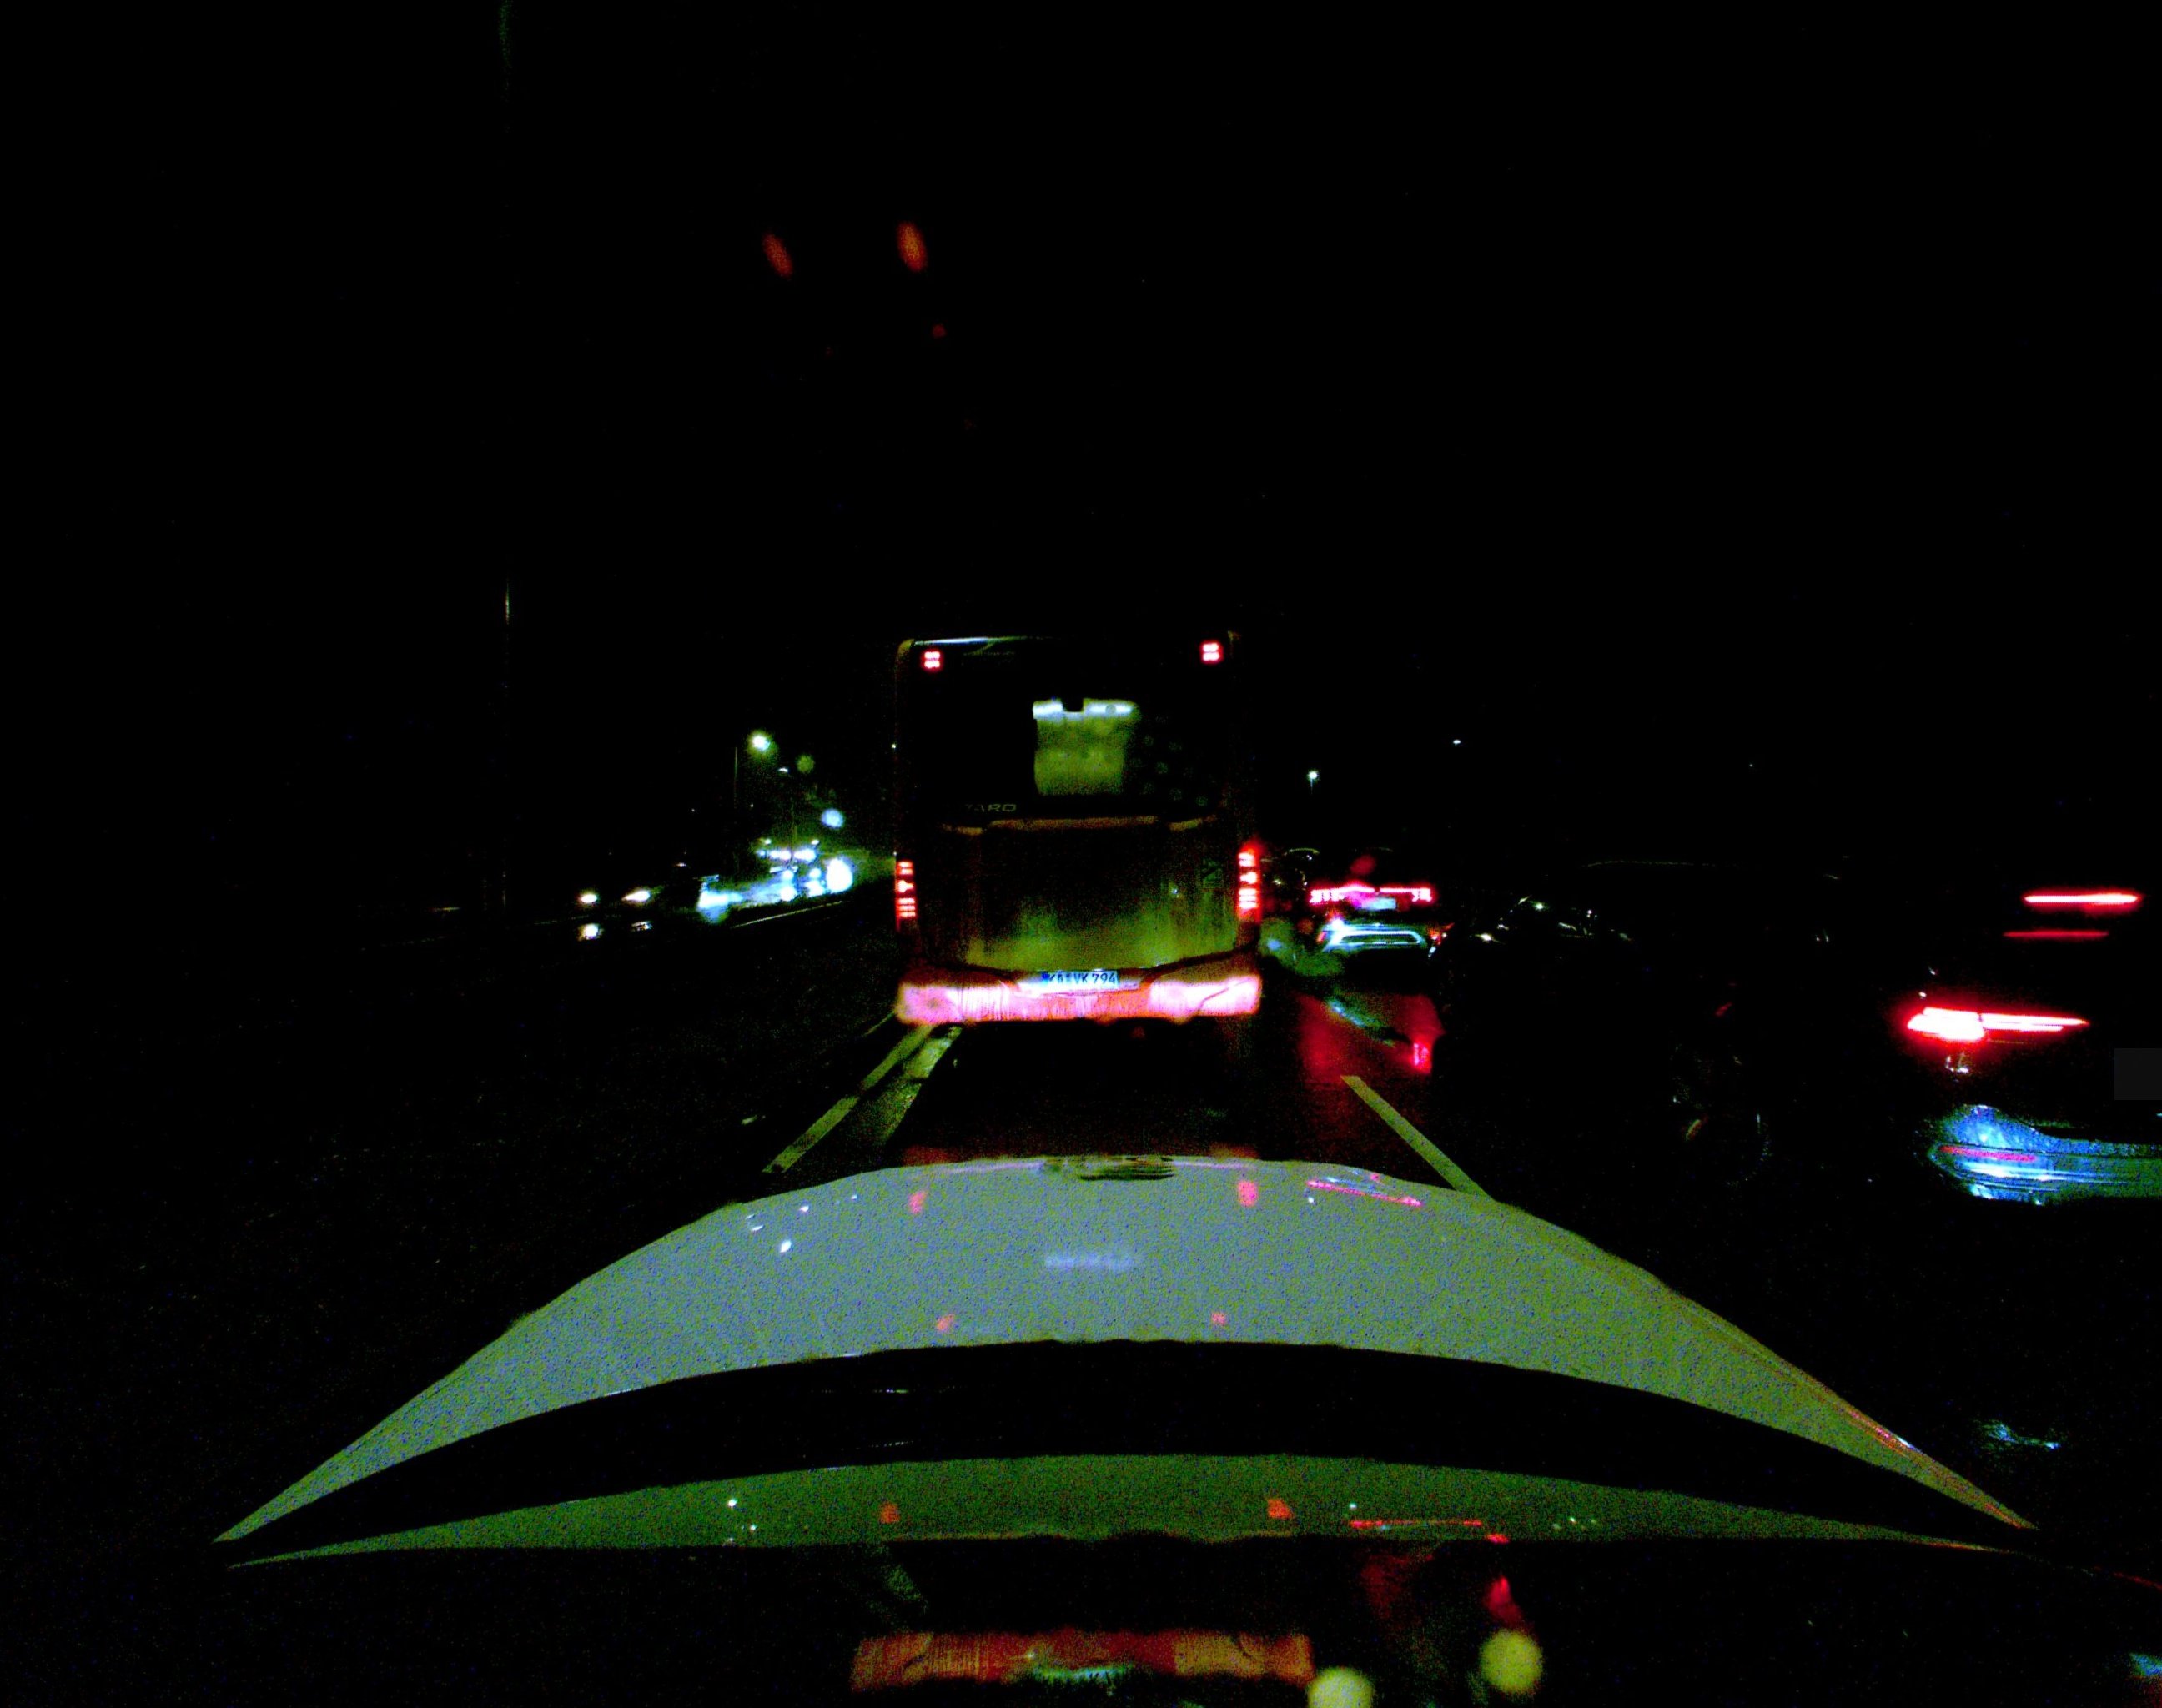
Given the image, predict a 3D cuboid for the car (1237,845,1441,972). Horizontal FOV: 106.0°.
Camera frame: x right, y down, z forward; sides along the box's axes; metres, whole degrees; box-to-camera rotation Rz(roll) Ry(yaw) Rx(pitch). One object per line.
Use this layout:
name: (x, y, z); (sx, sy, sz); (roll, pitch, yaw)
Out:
car: (3.505, 0.674, 11.856); (1.672, 1.521, 3.959); (0, -1, -1)

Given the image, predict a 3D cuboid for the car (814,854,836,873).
car: (-23.770, 0.873, 75.784); (1.769, 1.631, 4.228); (-1, 0, -15)

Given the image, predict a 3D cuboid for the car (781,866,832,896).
car: (-14.644, 1.387, 43.687); (1.711, 1.423, 4.654); (-2, 0, -8)

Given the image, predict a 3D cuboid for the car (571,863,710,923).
car: (-12.686, 1.053, 23.863); (1.993, 1.508, 4.825); (-2, 0, -8)

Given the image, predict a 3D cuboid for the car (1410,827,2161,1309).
car: (3.658, 0.706, 4.855); (1.666, 1.506, 4.561); (1, -1, 2)

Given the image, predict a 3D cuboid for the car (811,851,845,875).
car: (-18.142, 0.672, 58.588); (1.871, 1.607, 4.231); (-1, -1, -12)

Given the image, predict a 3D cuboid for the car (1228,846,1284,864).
car: (13.922, 0.091, 64.742); (4.037, 1.345, 1.744); (0, 2, -6)

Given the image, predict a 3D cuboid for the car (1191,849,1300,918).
car: (3.600, 0.601, 18.441); (1.680, 1.330, 3.960); (-2, 0, 1)

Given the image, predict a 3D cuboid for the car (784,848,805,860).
car: (-34.827, 0.026, 99.062); (1.810, 1.482, 3.780); (0, -1, -28)

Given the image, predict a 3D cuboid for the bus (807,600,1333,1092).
bus: (-0.036, -0.158, 9.970); (3.274, 3.050, 9.544); (-2, 1, 0)

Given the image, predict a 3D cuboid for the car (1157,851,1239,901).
car: (3.563, 0.645, 25.495); (1.987, 1.441, 3.999); (0, -1, 0)

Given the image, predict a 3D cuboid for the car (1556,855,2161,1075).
car: (6.784, 0.783, 7.810); (1.986, 1.481, 4.339); (1, 0, 1)
